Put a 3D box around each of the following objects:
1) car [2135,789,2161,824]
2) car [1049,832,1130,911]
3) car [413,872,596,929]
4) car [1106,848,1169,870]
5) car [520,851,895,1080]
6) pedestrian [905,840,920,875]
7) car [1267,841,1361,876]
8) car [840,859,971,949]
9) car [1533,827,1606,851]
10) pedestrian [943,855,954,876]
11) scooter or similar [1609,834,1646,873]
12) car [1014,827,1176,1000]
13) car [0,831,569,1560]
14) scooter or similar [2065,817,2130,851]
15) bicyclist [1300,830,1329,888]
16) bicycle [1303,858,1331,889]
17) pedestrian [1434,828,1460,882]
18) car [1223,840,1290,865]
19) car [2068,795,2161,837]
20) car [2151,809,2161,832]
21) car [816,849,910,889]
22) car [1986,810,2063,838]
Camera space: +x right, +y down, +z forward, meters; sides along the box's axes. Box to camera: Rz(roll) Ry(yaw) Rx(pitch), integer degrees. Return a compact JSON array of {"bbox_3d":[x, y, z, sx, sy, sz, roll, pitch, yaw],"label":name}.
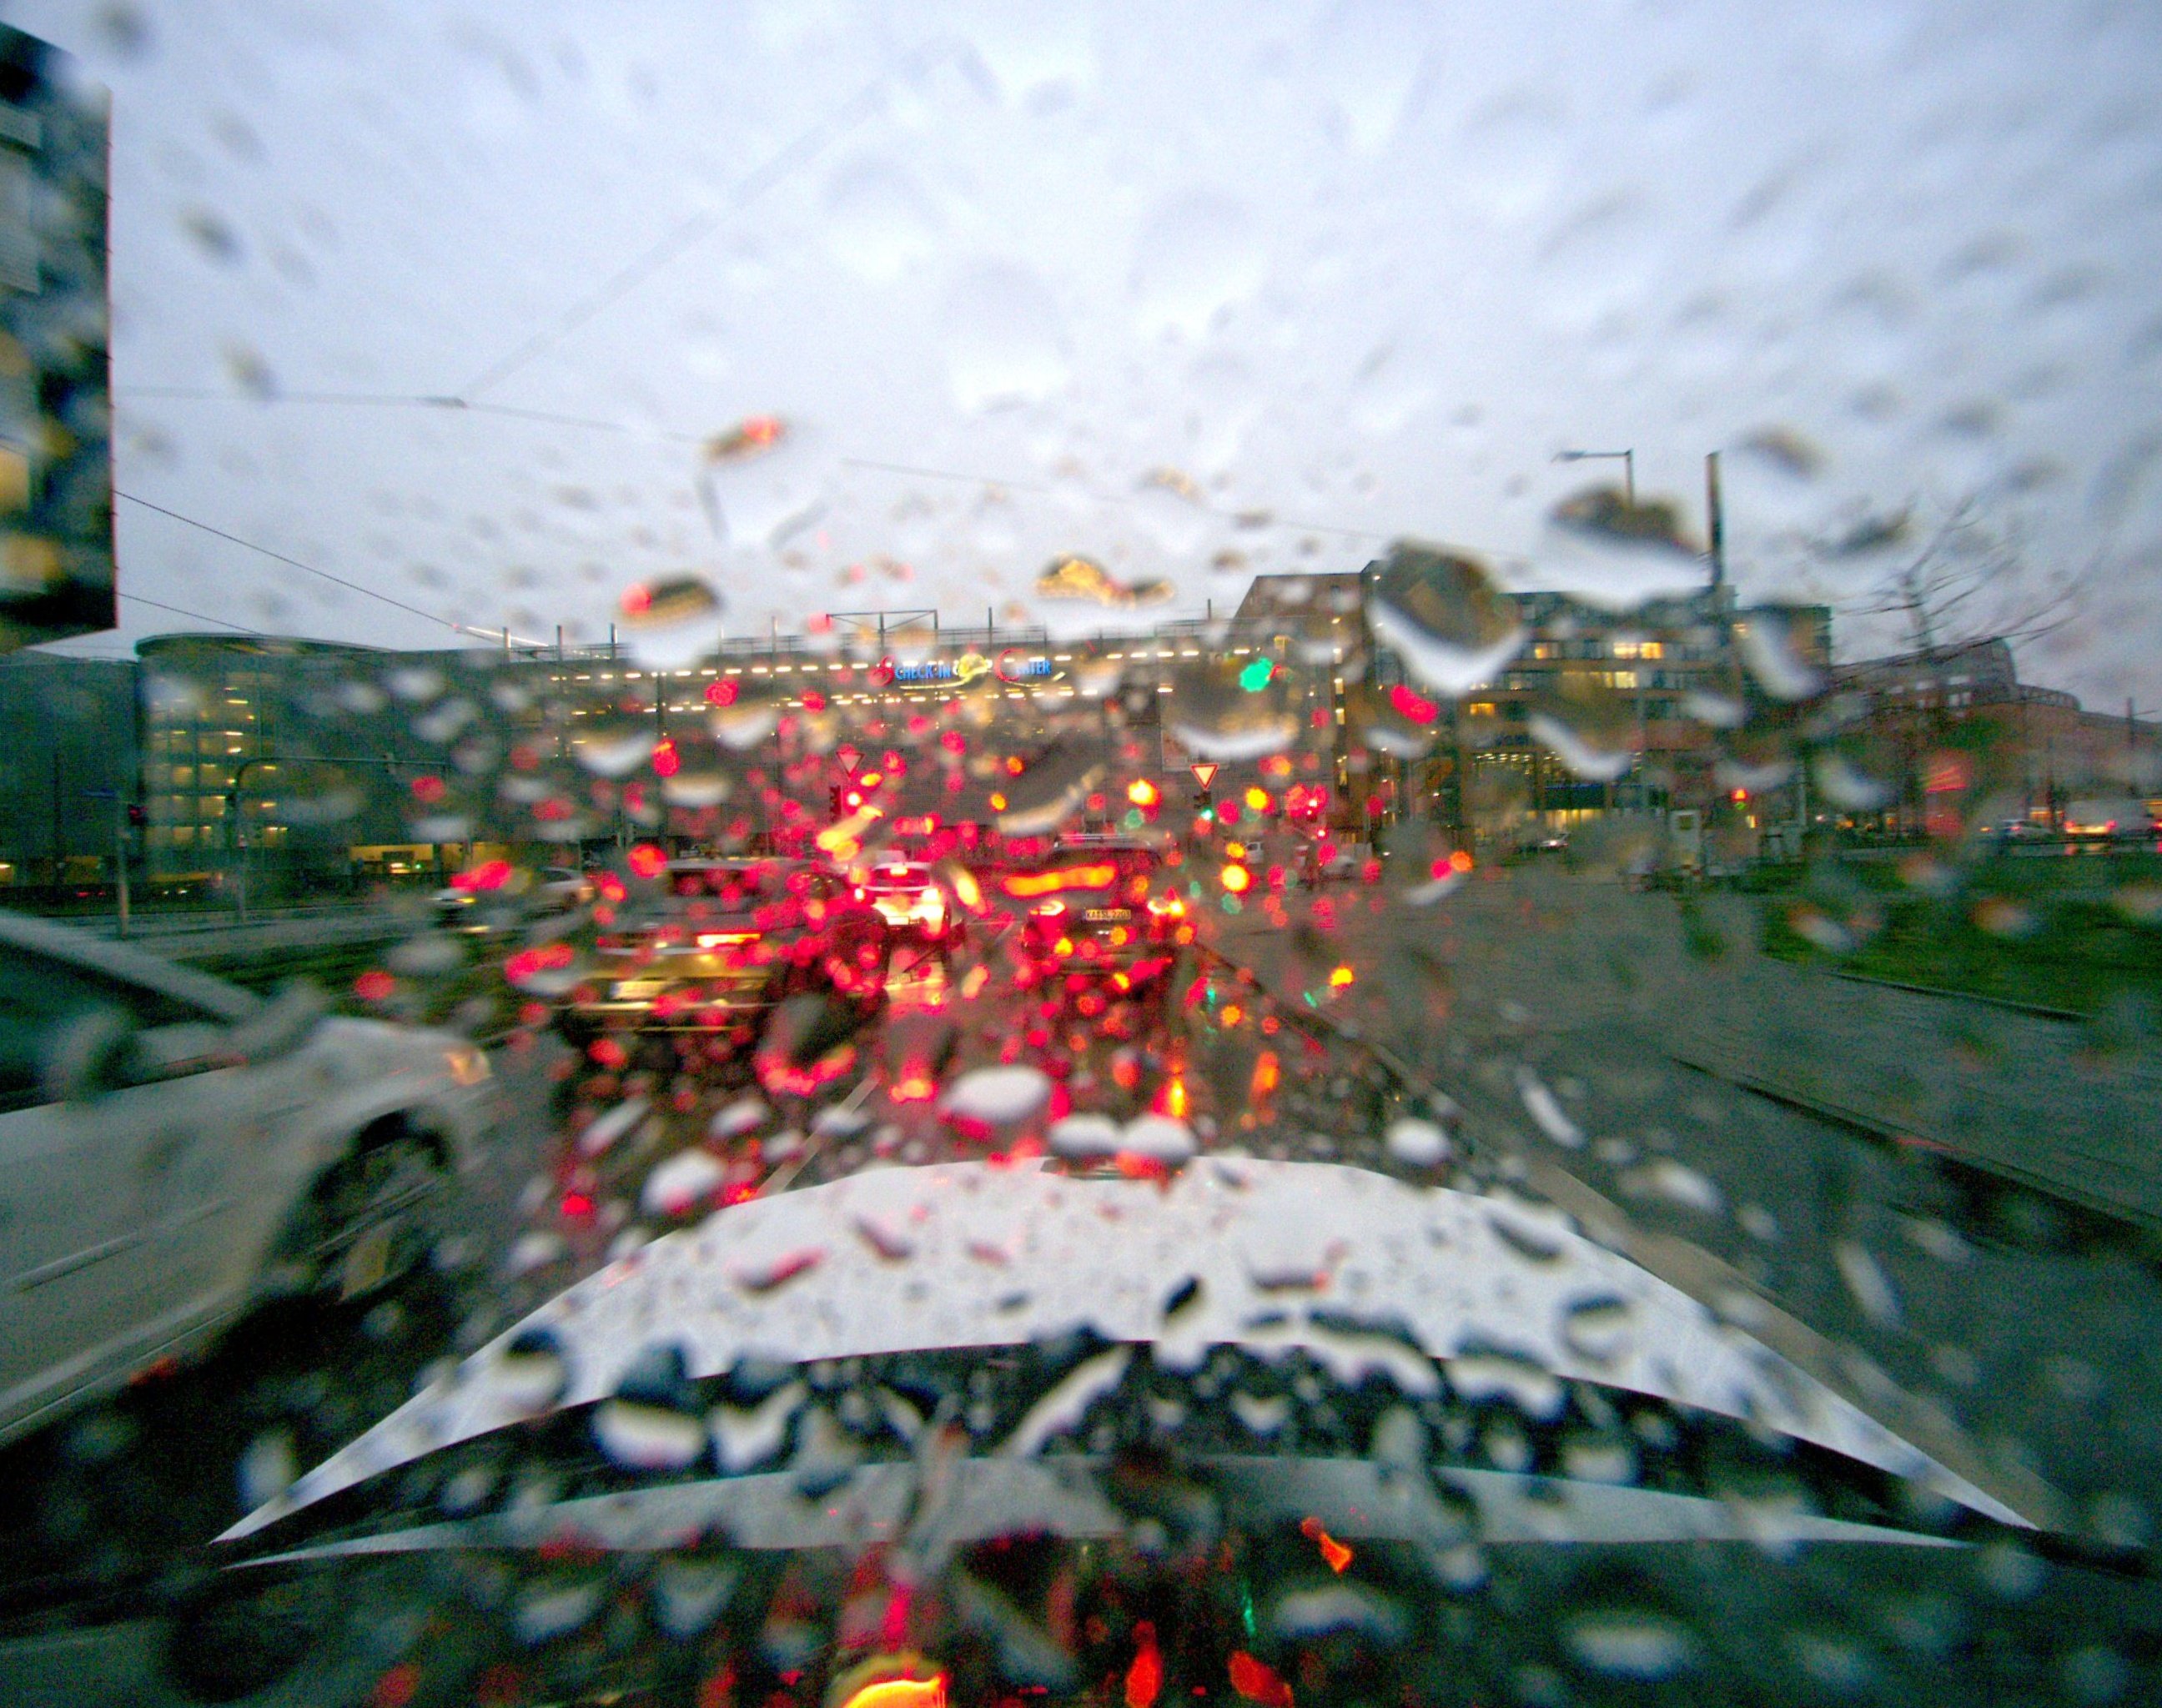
[{"bbox_3d":[89.423,-3.924,67.327,6.384,2.827,2.338,-2,0,-34],"label":"car"},{"bbox_3d":[0.196,0.406,21.308,1.838,1.806,4.485,-2,0,0],"label":"car"},{"bbox_3d":[-17.069,1.317,24.441,1.629,1.386,4.492,-2,0,13],"label":"car"},{"bbox_3d":[4.178,0.363,59.620,4.360,1.486,1.846,-2,0,-35],"label":"car"},{"bbox_3d":[-3.184,0.804,8.063,1.816,1.570,4.357,-2,0,-3],"label":"car"},{"bbox_3d":[-14.382,0.273,69.448,0.959,2.925,1.114,-1,-1,2],"label":"pedestrian"},{"bbox_3d":[10.124,0.183,35.337,3.738,1.361,1.632,-2,0,-24],"label":"car"},{"bbox_3d":[-3.225,0.853,15.685,1.753,1.463,3.914,-1,0,-2],"label":"car"},{"bbox_3d":[38.356,-1.150,64.035,4.583,1.719,1.928,-2,0,-2],"label":"car"},{"bbox_3d":[-11.771,1.014,72.393,0.785,1.787,0.732,-2,0,-2],"label":"pedestrian"},{"bbox_3d":[17.580,-0.024,26.173,1.311,1.206,0.331,-2,0,-25],"label":"scooter or similar"},{"bbox_3d":[0.241,0.614,10.398,1.667,1.779,4.003,0,0,3],"label":"car"},{"bbox_3d":[-3.215,0.755,1.571,1.665,1.599,4.224,0,0,2],"label":"car"},{"bbox_3d":[37.124,-0.725,29.745,1.548,1.227,0.669,-1,-1,-2],"label":"scooter or similar"},{"bbox_3d":[7.921,0.160,27.666,0.786,1.890,0.992,-2,0,9],"label":"bicyclist"},{"bbox_3d":[8.015,0.639,27.719,0.651,0.973,1.871,-2,0,9],"label":"bicycle"},{"bbox_3d":[13.022,0.044,28.995,0.766,1.877,0.639,-2,0,26],"label":"pedestrian"},{"bbox_3d":[13.216,-0.134,61.482,4.628,1.677,1.784,-2,0,-4],"label":"car"},{"bbox_3d":[66.131,-2.426,51.988,5.972,2.427,1.987,-2,0,-19],"label":"car"},{"bbox_3d":[72.813,-2.236,53.797,3.468,1.520,1.514,-1,0,-18],"label":"car"},{"bbox_3d":[-11.175,0.709,42.228,1.881,1.871,4.992,-2,0,25],"label":"car"},{"bbox_3d":[57.713,-1.812,49.802,3.680,1.496,1.635,-3,0,-15],"label":"car"}]
